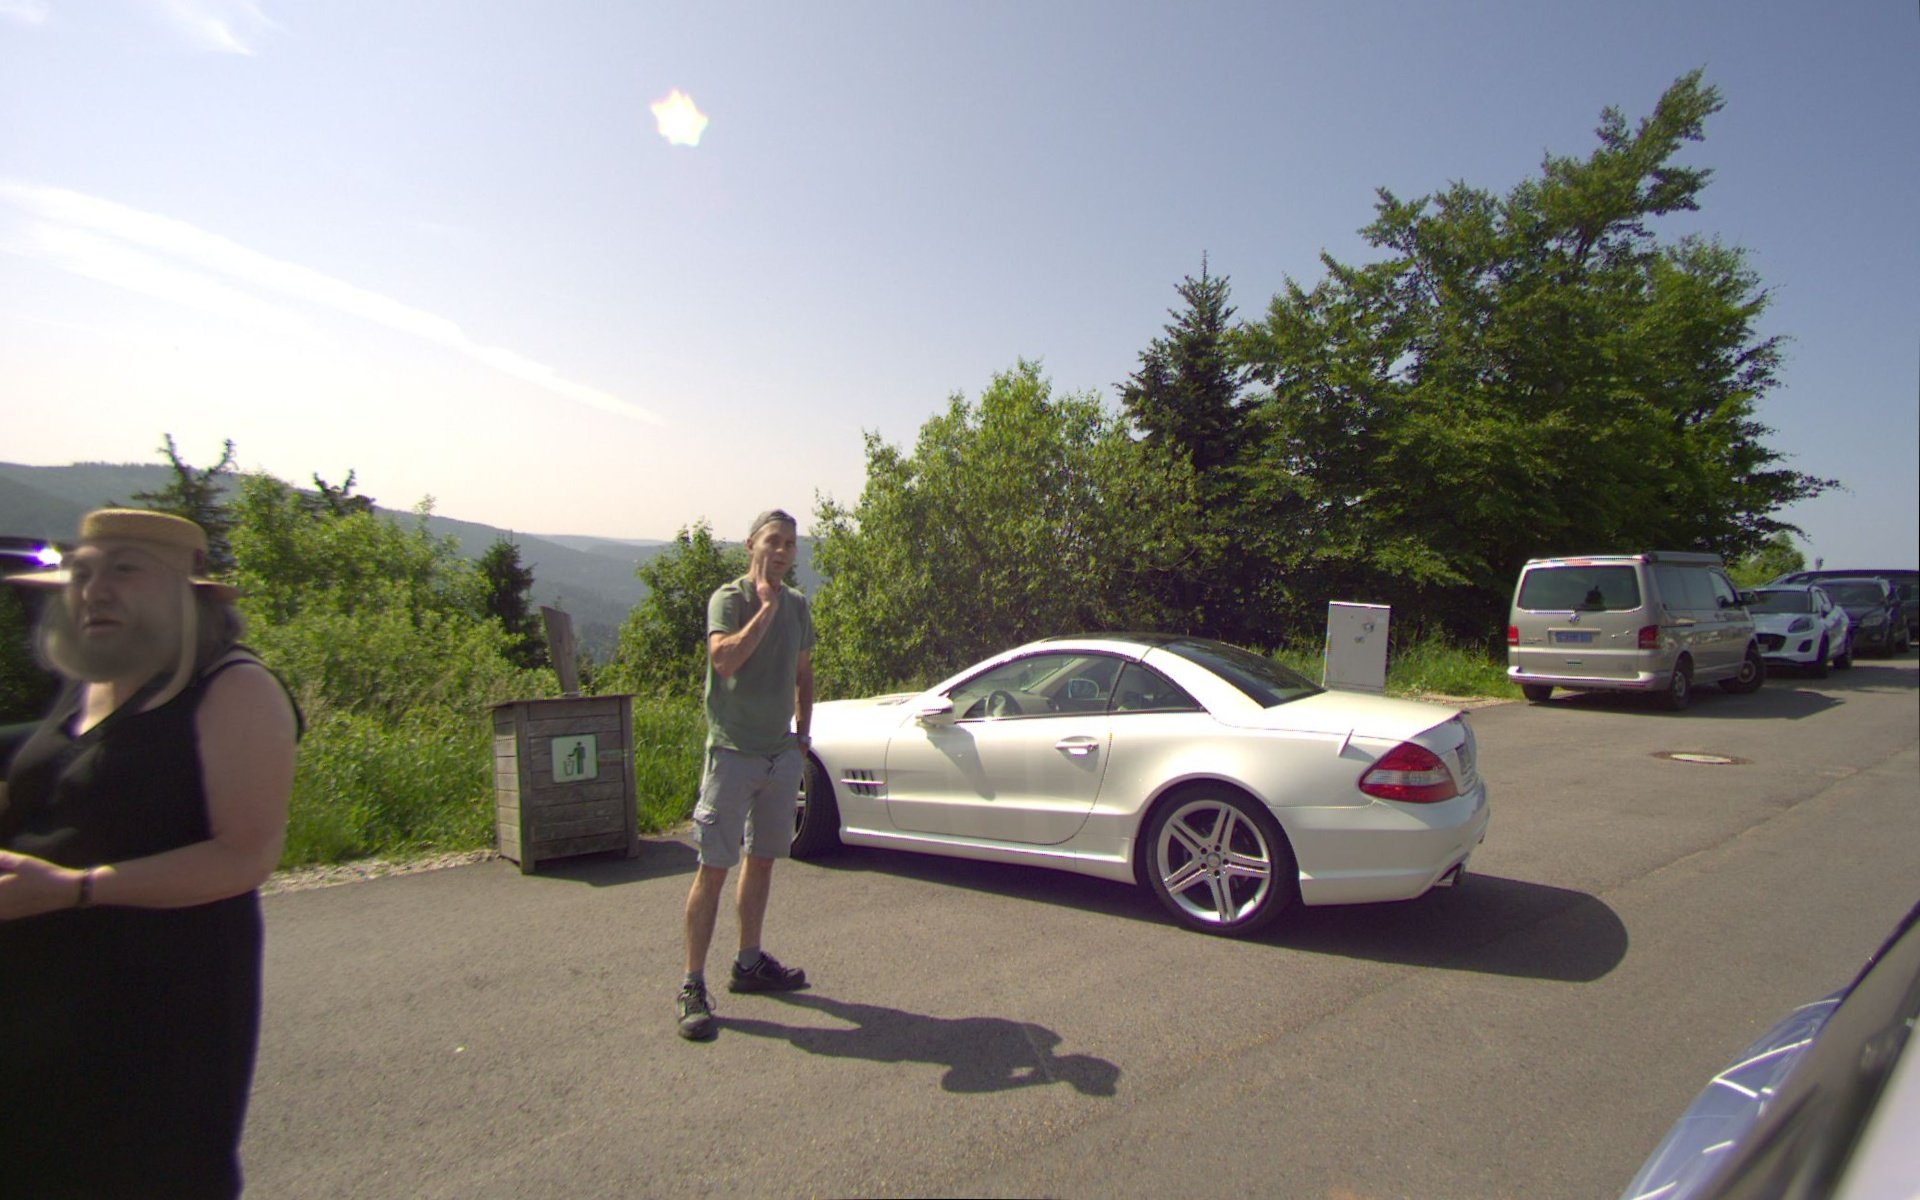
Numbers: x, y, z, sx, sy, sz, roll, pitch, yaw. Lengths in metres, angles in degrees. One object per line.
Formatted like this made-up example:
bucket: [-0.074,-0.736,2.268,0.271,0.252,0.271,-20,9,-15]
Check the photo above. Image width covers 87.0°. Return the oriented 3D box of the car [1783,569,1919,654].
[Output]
car: [19.277,0.203,21.736,3.931,1.639,1.873,-1,0,-41]

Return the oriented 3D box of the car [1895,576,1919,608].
car: [51.645,-0.367,52.779,1.842,1.634,3.912,0,4,-38]

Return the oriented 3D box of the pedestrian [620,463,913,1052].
pedestrian: [-0.695,0.478,3.652,0.733,1.822,0.737,0,1,43]

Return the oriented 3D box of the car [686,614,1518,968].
car: [0.610,0.744,5.739,4.379,1.312,1.735,-1,-1,33]

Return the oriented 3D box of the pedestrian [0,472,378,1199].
pedestrian: [-1.349,0.645,1.678,0.527,1.633,0.715,-1,1,-42]

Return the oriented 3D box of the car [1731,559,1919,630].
car: [25.586,-0.149,29.736,4.423,1.949,1.856,0,0,31]

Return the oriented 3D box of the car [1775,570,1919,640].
car: [22.585,0.106,24.676,3.967,1.639,1.856,0,0,31]

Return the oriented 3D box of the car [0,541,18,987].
car: [-3.256,0.589,1.869,1.836,1.647,4.353,-1,0,-38]

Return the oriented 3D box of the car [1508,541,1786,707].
car: [9.656,0.276,14.092,4.524,1.960,1.862,0,0,-38]

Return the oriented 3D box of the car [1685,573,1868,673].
car: [14.487,0.334,17.891,3.931,1.567,1.873,-1,0,-41]
